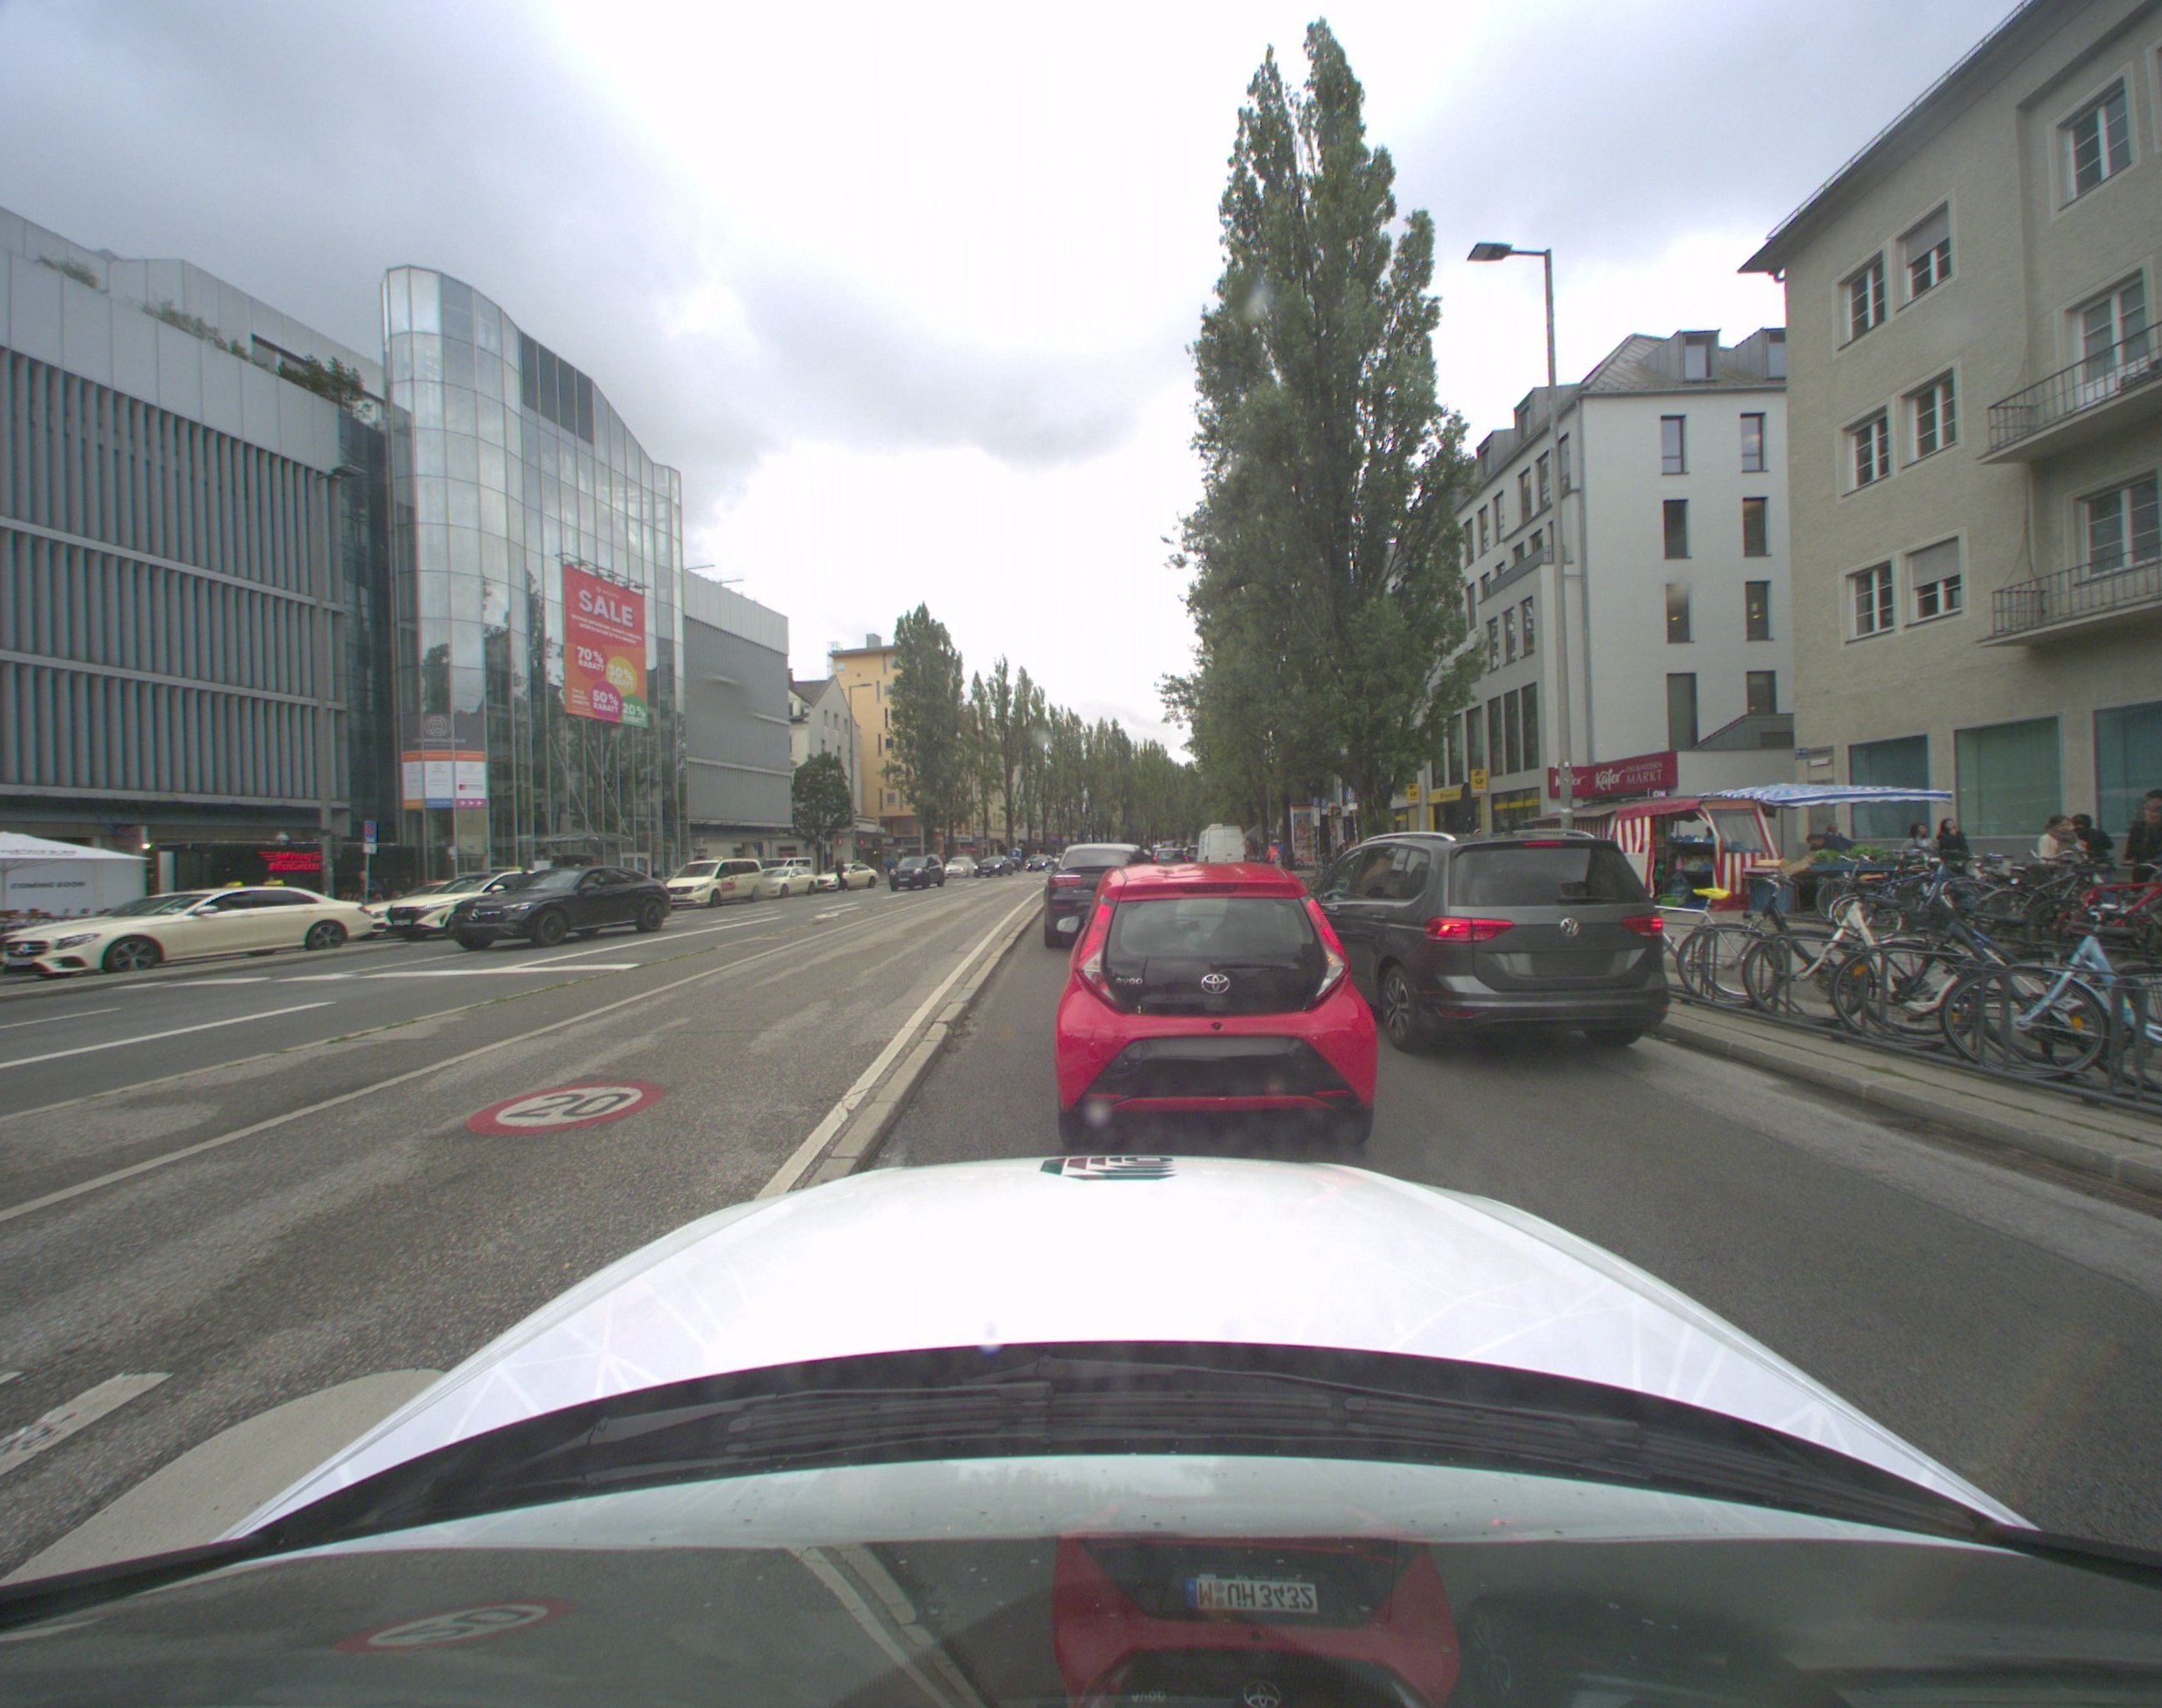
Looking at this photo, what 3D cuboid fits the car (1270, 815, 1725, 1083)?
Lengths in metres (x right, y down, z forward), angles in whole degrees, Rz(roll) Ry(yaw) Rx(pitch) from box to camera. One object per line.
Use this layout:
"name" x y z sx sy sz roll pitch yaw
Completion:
"car" 3.197 0.594 7.530 1.766 1.647 4.707 -2 0 0

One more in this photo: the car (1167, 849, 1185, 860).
"car" 13.149 0.089 112.413 1.759 1.439 3.954 -2 0 15

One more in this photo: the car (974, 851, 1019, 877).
"car" -5.870 0.664 57.209 1.982 1.691 4.932 -2 0 8

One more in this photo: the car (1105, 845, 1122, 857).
"car" 5.395 -0.573 135.647 1.979 1.933 4.430 -2 0 13

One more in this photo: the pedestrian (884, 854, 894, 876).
"pedestrian" -18.316 1.044 77.672 0.685 1.997 0.766 -2 0 1

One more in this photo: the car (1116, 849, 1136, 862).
"car" 6.531 0.214 117.375 1.979 1.691 4.430 -2 0 13

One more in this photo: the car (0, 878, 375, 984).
"car" -16.827 1.346 15.655 1.981 1.508 4.648 -2 0 10

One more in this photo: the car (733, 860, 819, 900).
"car" -14.313 1.182 38.536 1.984 1.655 4.540 -2 0 5

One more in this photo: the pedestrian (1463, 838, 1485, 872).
"pedestrian" 18.373 0.030 38.081 0.710 1.558 0.676 -2 0 1

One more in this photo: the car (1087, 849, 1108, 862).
"car" 2.355 0.198 113.332 1.979 1.691 4.430 -2 0 13

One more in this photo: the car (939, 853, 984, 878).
"car" -8.944 0.818 61.559 1.982 1.691 4.932 -2 0 8

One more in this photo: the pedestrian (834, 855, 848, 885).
"pedestrian" -14.923 0.997 50.647 0.553 1.817 0.630 -2 0 12

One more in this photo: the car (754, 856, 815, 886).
"car" -19.324 1.077 53.281 1.858 1.772 4.253 -2 0 10

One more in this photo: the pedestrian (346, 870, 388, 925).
"pedestrian" -22.786 1.371 25.988 0.646 1.691 0.714 -2 0 13

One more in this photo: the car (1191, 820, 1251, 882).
"car" 6.597 -0.156 38.908 2.099 2.718 4.806 -2 0 2

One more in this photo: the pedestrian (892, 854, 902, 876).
"pedestrian" -17.549 1.048 77.687 0.685 1.997 0.766 -2 0 1

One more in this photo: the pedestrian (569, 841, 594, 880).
"pedestrian" -22.354 0.302 36.461 0.647 1.722 0.673 0 0 11

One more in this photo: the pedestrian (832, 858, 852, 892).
"pedestrian" -12.330 1.074 42.077 0.687 1.697 0.629 -2 0 33

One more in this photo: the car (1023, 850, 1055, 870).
"car" -3.737 0.534 73.252 1.982 1.691 4.932 -2 0 8

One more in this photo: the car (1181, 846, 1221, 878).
"car" 6.610 0.410 45.198 1.697 1.662 3.557 -1 0 1

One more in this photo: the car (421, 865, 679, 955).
"car" -11.030 1.083 17.434 1.982 1.534 4.599 -2 0 9

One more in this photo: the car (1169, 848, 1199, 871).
"car" 7.179 0.349 56.928 1.697 1.529 3.557 -1 0 1

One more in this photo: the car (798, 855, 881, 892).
"car" -13.055 1.041 44.314 1.977 1.816 4.555 -2 0 19

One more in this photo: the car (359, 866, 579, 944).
"car" -15.700 1.241 21.214 1.979 1.679 4.199 -2 0 13

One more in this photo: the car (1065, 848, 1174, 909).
"car" 1.163 0.622 22.343 1.904 1.486 3.937 -2 -1 19

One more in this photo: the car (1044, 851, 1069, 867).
"car" -2.839 0.530 94.570 1.982 1.691 4.932 -2 0 8

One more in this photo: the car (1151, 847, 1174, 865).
"car" 7.172 0.157 71.598 1.694 1.426 3.497 -2 0 1

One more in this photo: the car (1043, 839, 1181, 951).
"car" 0.469 0.581 13.701 1.987 1.618 4.000 0 0 0

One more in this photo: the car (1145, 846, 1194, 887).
"car" 3.713 0.503 34.620 1.697 1.589 3.557 -2 0 1

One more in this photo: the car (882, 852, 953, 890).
"car" -7.935 0.794 40.045 1.983 1.691 4.930 -2 0 6

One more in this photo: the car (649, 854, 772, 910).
"car" -14.808 1.047 32.965 1.984 2.013 5.531 -2 0 5

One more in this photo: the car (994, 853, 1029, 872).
"car" -6.542 0.770 77.154 1.981 1.691 4.935 -2 0 10

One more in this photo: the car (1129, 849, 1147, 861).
"car" 8.791 0.205 125.196 1.979 1.691 4.430 -2 0 13

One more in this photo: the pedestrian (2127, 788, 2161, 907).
"pedestrian" 15.481 -0.102 11.548 0.594 1.669 0.690 -2 0 36

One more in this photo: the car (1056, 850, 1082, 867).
"car" -1.203 0.447 85.989 1.982 1.691 4.932 -2 0 8

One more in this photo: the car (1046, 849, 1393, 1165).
"car" 0.699 0.711 5.365 1.599 1.461 3.131 -1 0 2
